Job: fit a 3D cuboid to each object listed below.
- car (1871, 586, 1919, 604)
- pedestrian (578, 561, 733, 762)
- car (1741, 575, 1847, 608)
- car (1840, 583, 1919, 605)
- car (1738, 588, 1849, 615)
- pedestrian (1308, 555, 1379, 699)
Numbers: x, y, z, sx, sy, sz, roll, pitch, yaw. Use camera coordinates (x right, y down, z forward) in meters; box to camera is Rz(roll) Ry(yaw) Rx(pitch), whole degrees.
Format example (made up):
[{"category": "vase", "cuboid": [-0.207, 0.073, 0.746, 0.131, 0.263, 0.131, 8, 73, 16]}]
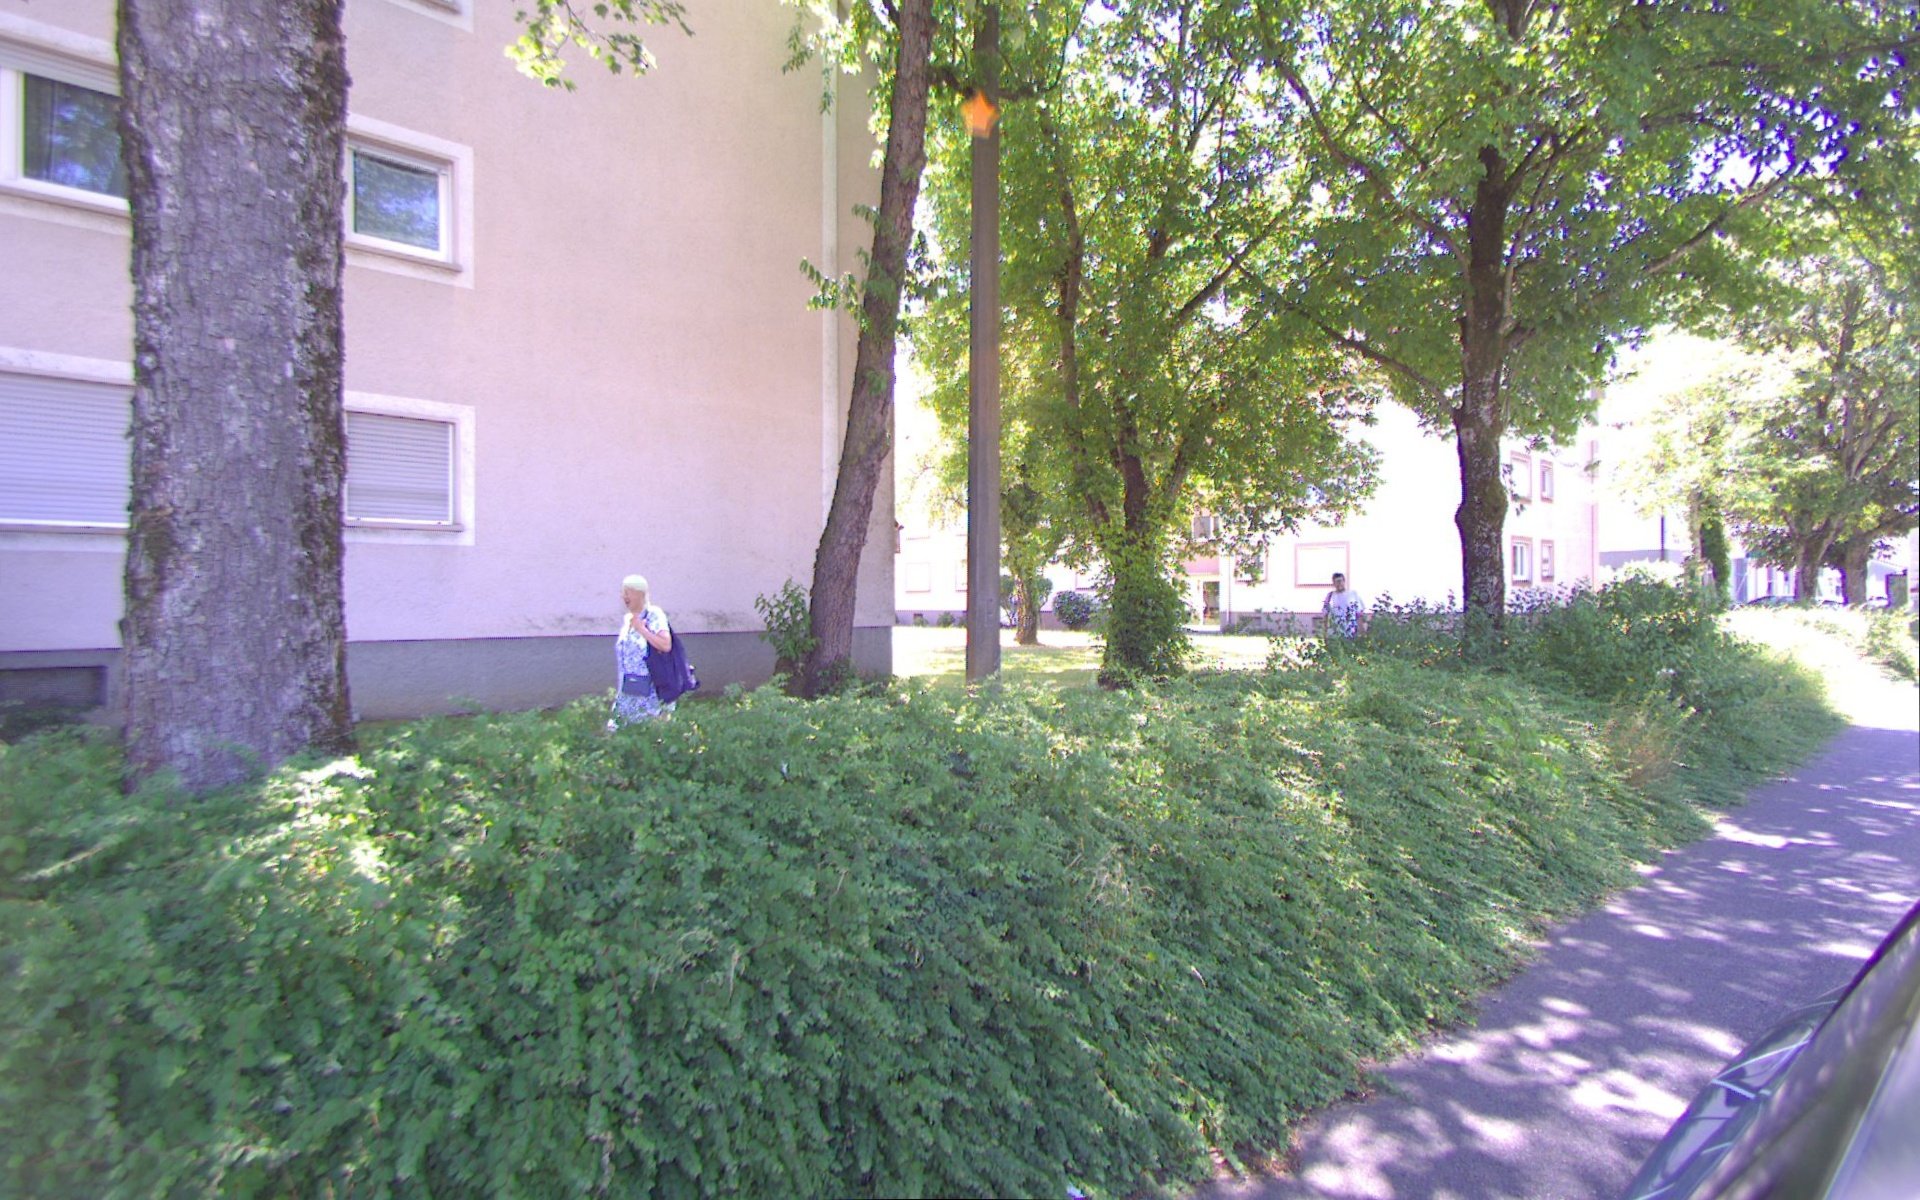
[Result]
[{"category": "car", "cuboid": [76.296, -0.410, 81.504, 1.768, 1.479, 4.007, -1, 1, -25]}, {"category": "pedestrian", "cuboid": [-2.200, 0.404, 7.316, 0.873, 1.351, 0.662, -1, 0, -41]}, {"category": "car", "cuboid": [43.180, -0.472, 52.438, 1.766, 1.569, 3.994, -1, 2, -41]}, {"category": "car", "cuboid": [70.775, -0.491, 77.565, 1.958, 1.662, 4.606, -1, 1, -21]}, {"category": "car", "cuboid": [45.322, 0.080, 55.128, 4.315, 1.388, 1.937, 0, 1, 27]}, {"category": "pedestrian", "cuboid": [5.331, 0.359, 14.079, 0.648, 1.938, 0.705, 0, 0, -38]}]
